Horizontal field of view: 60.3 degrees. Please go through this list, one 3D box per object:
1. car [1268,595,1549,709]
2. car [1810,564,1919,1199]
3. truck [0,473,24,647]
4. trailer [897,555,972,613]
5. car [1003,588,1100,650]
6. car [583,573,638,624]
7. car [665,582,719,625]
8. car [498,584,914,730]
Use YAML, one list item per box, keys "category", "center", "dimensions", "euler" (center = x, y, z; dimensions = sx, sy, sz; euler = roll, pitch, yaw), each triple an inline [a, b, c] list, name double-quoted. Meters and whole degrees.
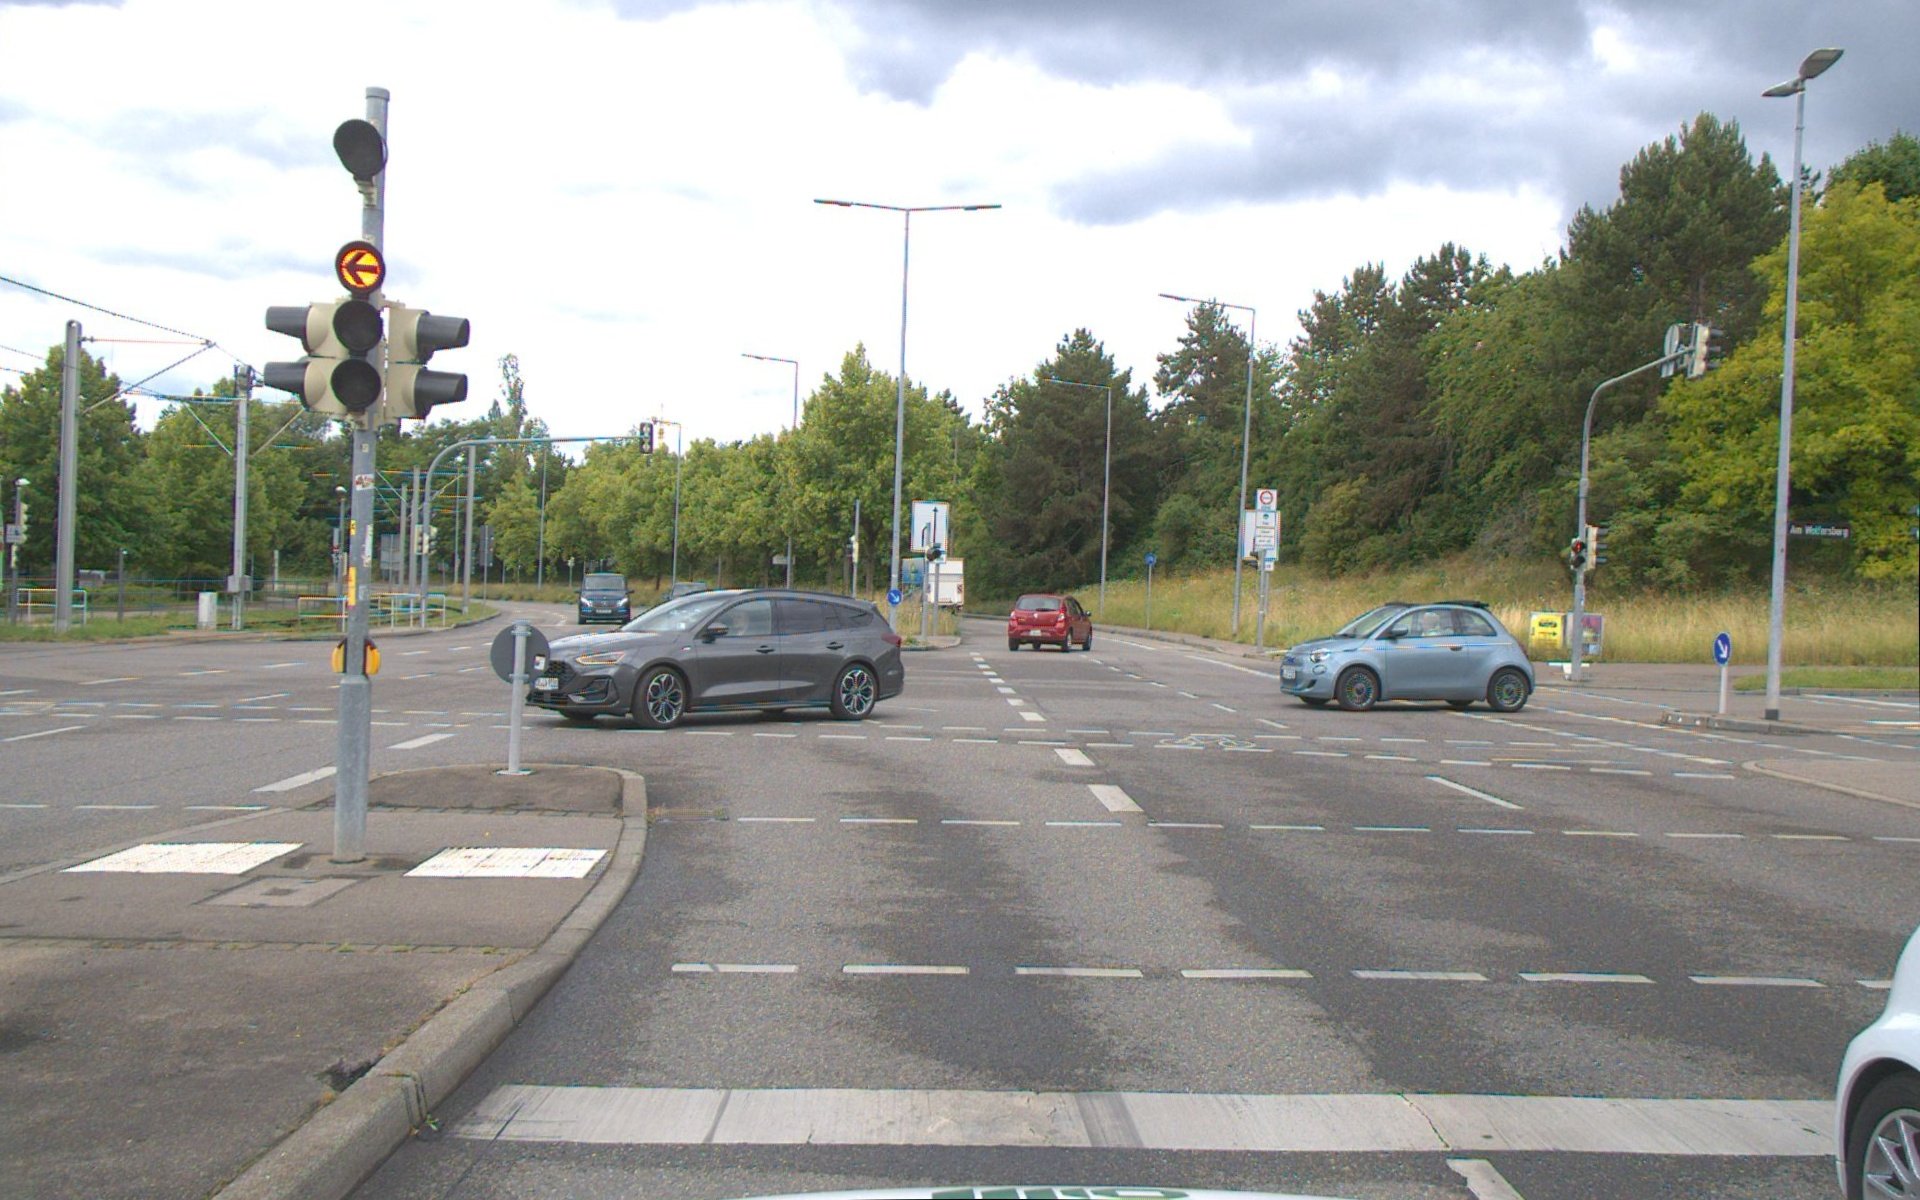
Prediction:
- category: "car"
  center: [6.443, 0.735, 23.943]
  dimensions: [3.522, 1.555, 1.758]
  euler: [1, 0, -9]
- category: "car"
  center: [2.742, 0.706, 2.436]
  dimensions: [1.559, 1.543, 2.766]
  euler: [1, 0, 0]
- category: "truck"
  center: [-24.140, -0.887, 32.858]
  dimensions: [9.099, 3.594, 3.005]
  euler: [1, 0, -15]
- category: "trailer"
  center: [-1.488, -0.846, 91.947]
  dimensions: [2.702, 3.065, 6.061]
  euler: [1, 0, -16]
- category: "car"
  center: [2.577, 0.516, 45.658]
  dimensions: [1.747, 1.631, 3.889]
  euler: [1, 0, 18]
- category: "car"
  center: [-13.186, -0.081, 62.589]
  dimensions: [1.853, 1.844, 5.080]
  euler: [0, 0, -10]
- category: "car"
  center: [-9.899, 0.138, 61.305]
  dimensions: [1.702, 1.535, 3.656]
  euler: [1, 0, -5]
- category: "car"
  center: [-2.766, 0.593, 18.676]
  dimensions: [4.398, 1.449, 1.846]
  euler: [1, 0, -44]
